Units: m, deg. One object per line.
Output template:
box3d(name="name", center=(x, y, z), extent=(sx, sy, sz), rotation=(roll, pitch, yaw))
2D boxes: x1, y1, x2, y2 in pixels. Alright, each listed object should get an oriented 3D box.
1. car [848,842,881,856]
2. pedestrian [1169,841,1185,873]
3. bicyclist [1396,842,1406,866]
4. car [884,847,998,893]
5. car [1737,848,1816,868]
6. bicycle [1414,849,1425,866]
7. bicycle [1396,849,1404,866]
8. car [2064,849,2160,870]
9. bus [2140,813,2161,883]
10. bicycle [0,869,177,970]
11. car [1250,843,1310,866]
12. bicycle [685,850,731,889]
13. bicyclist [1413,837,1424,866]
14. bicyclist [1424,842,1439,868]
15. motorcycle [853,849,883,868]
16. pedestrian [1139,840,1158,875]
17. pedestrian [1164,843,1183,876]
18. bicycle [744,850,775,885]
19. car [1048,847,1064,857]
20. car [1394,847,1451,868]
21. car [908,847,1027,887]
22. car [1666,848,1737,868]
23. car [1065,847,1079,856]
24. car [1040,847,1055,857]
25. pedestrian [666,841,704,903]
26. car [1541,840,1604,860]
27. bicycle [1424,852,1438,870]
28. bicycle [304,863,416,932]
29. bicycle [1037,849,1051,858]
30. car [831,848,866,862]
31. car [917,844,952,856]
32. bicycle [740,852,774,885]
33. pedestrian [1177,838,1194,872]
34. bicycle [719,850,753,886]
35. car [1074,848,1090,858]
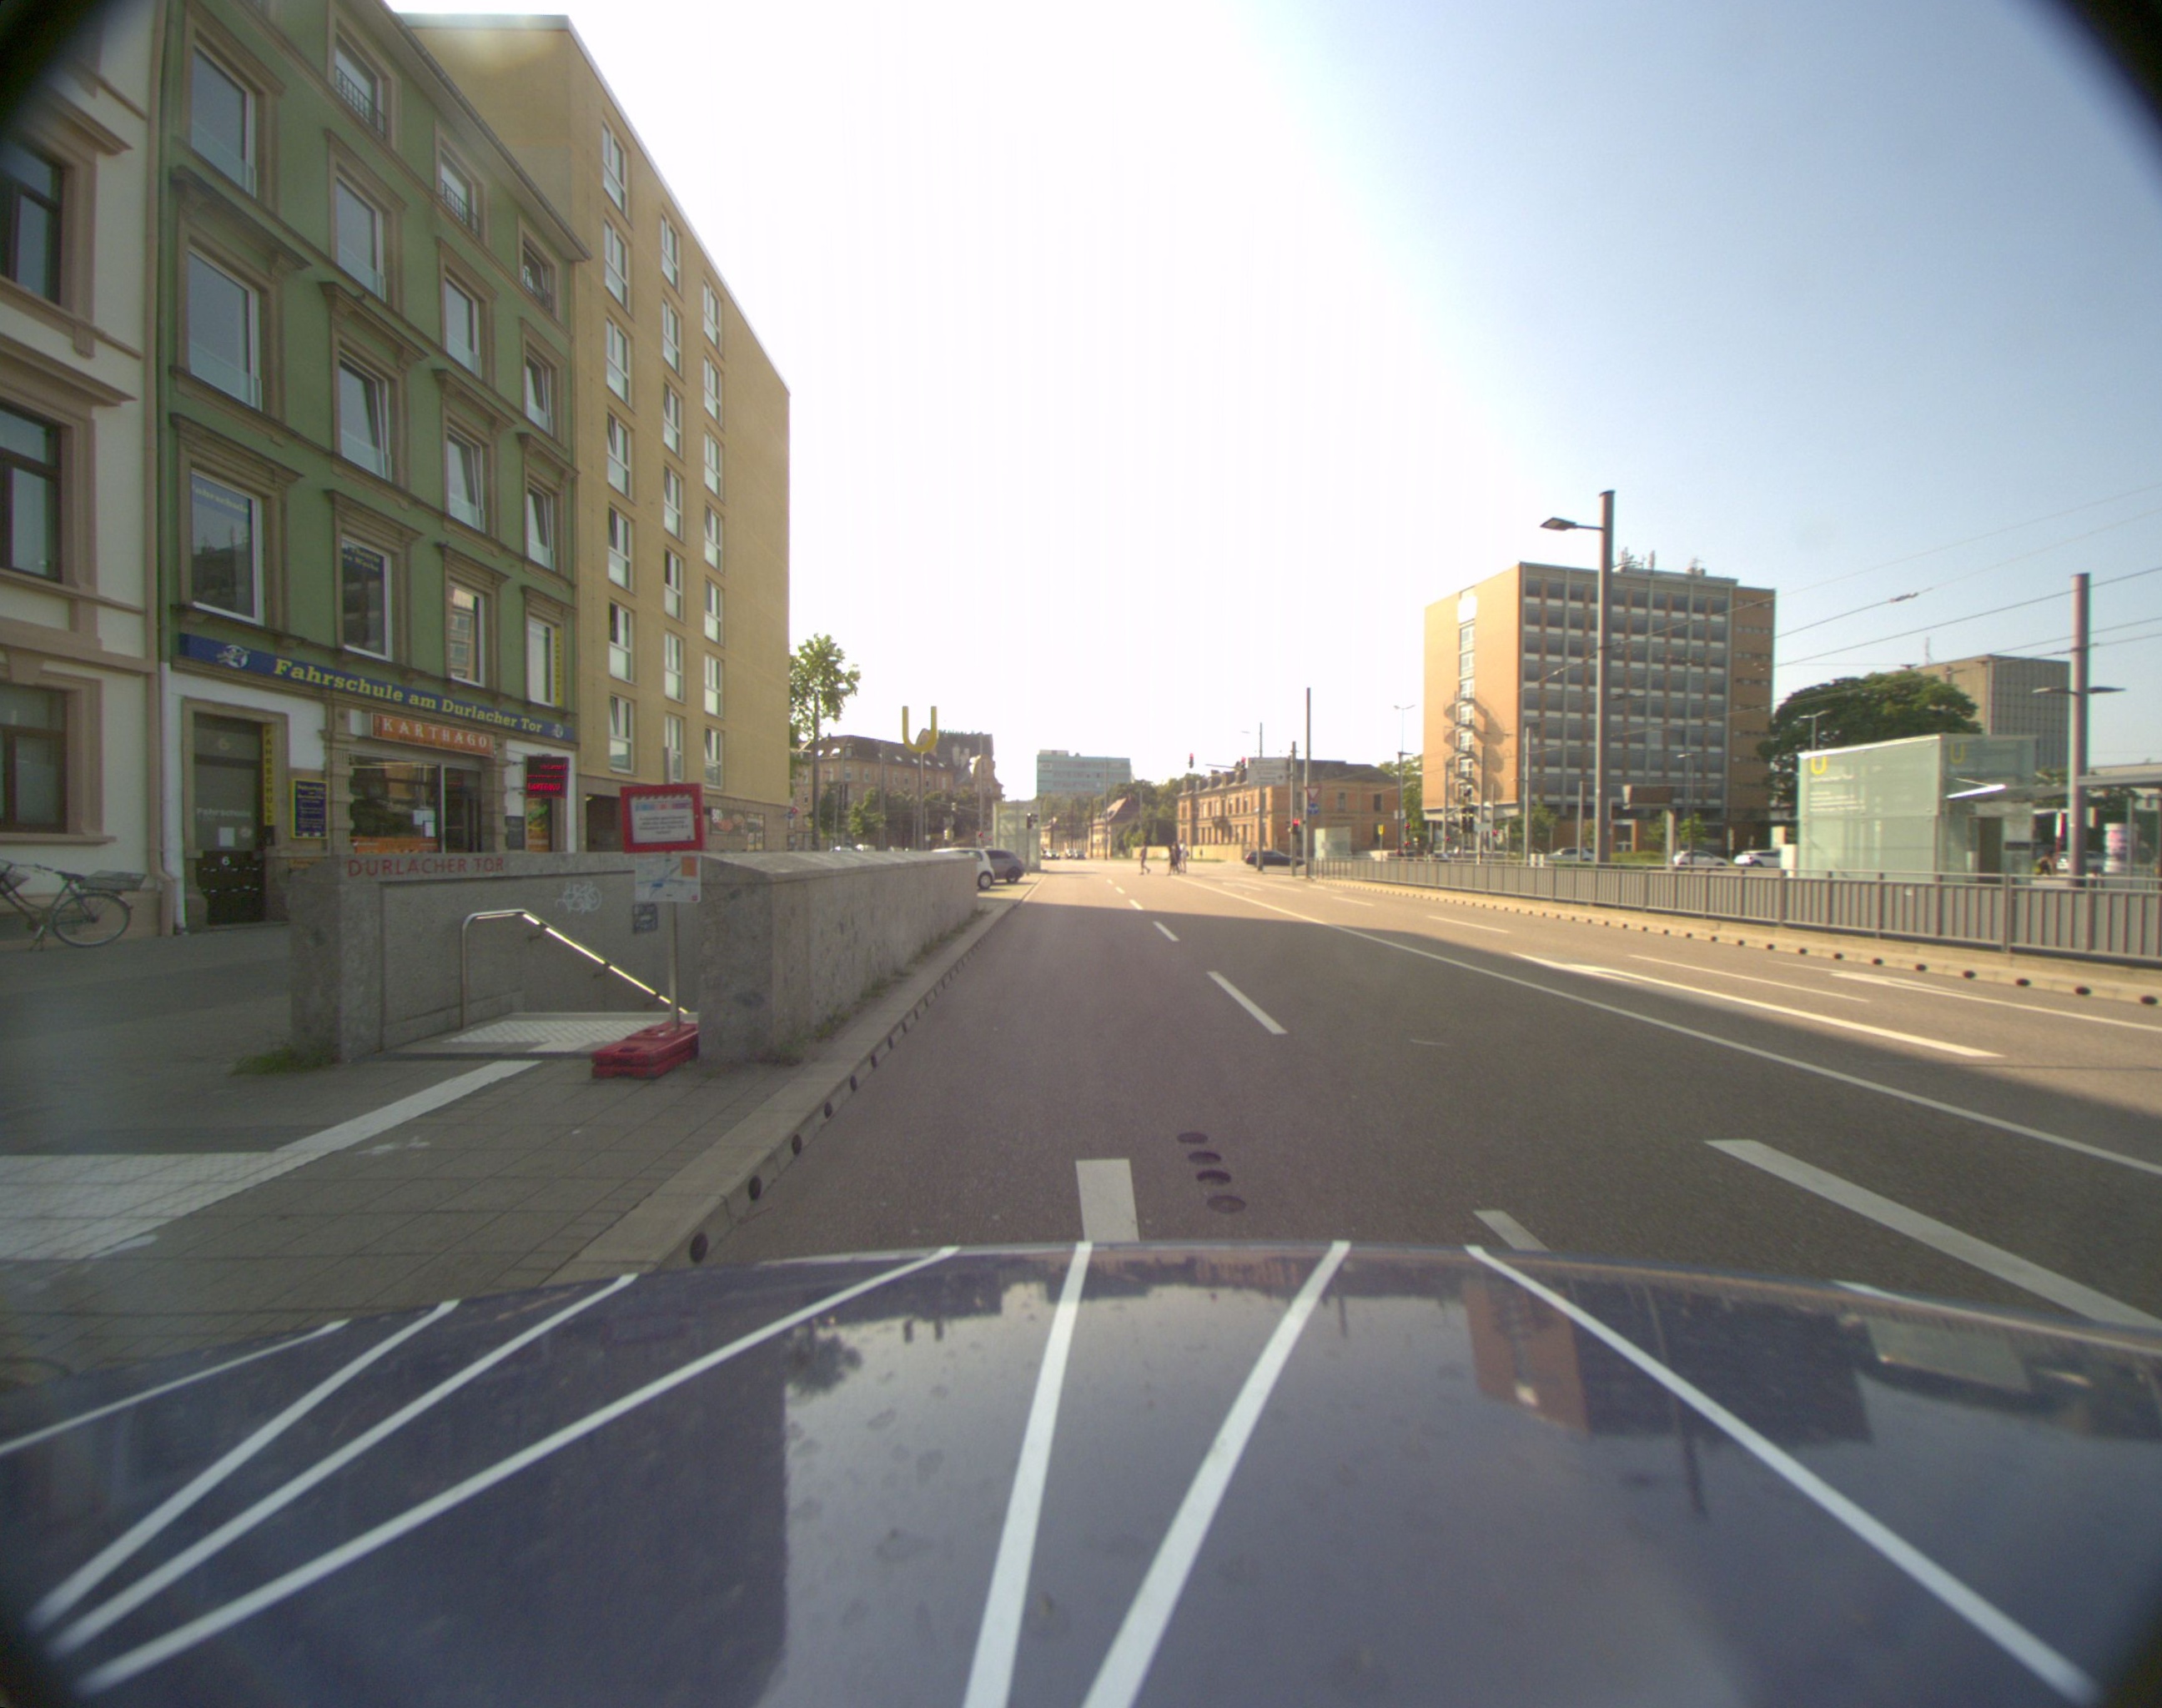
box3d(name="car", center=(-30.278, -0.693, 106.184), extent=(4.278, 1.875, 1.798), rotation=(0, -1, 27))
box3d(name="pedestrian", center=(4.809, 0.146, 38.166), extent=(0.634, 1.588, 0.467), rotation=(3, 1, -2))
box3d(name="bicyclist", center=(22.328, 0.012, 52.988), extent=(0.511, 1.621, 0.808), rotation=(0, 1, 14))
box3d(name="car", center=(-4.818, 0.501, 26.389), extent=(3.535, 1.455, 1.618), rotation=(-1, 2, -42))
box3d(name="car", center=(51.954, 0.269, 56.831), extent=(3.990, 1.407, 1.806), rotation=(1, 1, 21))
box3d(name="bicycle", center=(23.496, 0.210, 52.743), extent=(0.376, 1.158, 1.861), rotation=(0, 0, 15))
box3d(name="bicycle", center=(22.261, 0.250, 53.077), extent=(0.311, 1.159, 1.501), rotation=(0, 0, 15))
box3d(name="car", center=(71.673, 0.355, 52.872), extent=(3.549, 1.427, 1.806), rotation=(1, 1, 19))
box3d(name="bus", center=(58.319, -0.229, 33.403), extent=(13.276, 3.399, 3.232), rotation=(1, 1, 43))
box3d(name="bicycle", center=(-12.806, 0.788, 9.736), extent=(0.384, 1.127, 1.719), rotation=(0, 1, 0))
box3d(name="car", center=(16.484, 0.052, 62.923), extent=(4.564, 1.842, 2.003), rotation=(1, 1, 21))
box3d(name="bicycle", center=(-12.527, 0.502, 25.579), extent=(0.604, 1.254, 1.997), rotation=(0, 1, -1))
box3d(name="bicyclist", center=(23.498, -0.183, 52.872), extent=(0.580, 1.963, 0.808), rotation=(0, 1, 14))
box3d(name="bicyclist", center=(22.296, 0.074, 48.341), extent=(0.588, 1.647, 0.791), rotation=(0, 1, 8))
box3d(name="motorcycle", center=(-13.185, 0.238, 47.191), extent=(0.704, 1.140, 2.304), rotation=(1, 1, 15))
box3d(name="pedestrian", center=(3.341, 0.187, 37.882), extent=(0.816, 1.683, 0.651), rotation=(3, 1, 0))
box3d(name="pedestrian", center=(4.424, 0.248, 36.366), extent=(0.810, 1.539, 0.548), rotation=(3, 1, 1))
box3d(name="bicycle", center=(-12.020, 0.479, 28.460), extent=(0.604, 1.254, 1.995), rotation=(0, 1, -9))
box3d(name="car", center=(-3.749, -0.280, 112.796), extent=(1.928, 1.368, 3.996), rotation=(0, 1, -9))
box3d(name="car", center=(26.733, 0.223, 59.538), extent=(3.990, 1.587, 2.003), rotation=(1, 1, 22))
box3d(name="car", center=(-4.494, 0.464, 30.436), extent=(4.418, 1.415, 1.842), rotation=(-1, 2, -42))
box3d(name="car", center=(45.039, 0.302, 55.256), extent=(3.607, 1.407, 1.806), rotation=(1, 1, 20))
box3d(name="car", center=(-1.411, -0.353, 115.939), extent=(1.693, 1.319, 3.996), rotation=(0, 1, -9))
box3d(name="car", center=(-5.433, -0.311, 123.130), extent=(1.928, 1.627, 3.996), rotation=(0, 1, -9))
box3d(name="pedestrian", center=(-10.532, 0.459, 20.230), extent=(0.610, 1.620, 0.737), rotation=(0, 1, 0))
box3d(name="car", center=(42.947, -0.328, 66.513), extent=(4.281, 1.696, 1.955), rotation=(1, -1, 15))
box3d(name="bicycle", center=(22.288, 0.443, 48.411), extent=(0.402, 1.103, 1.748), rotation=(1, 1, 10))
box3d(name="bicycle", center=(-12.980, 0.744, 13.750), extent=(0.384, 1.127, 1.719), rotation=(0, 1, 0))
box3d(name="bicycle", center=(-4.810, -0.030, 98.187), extent=(1.770, 1.187, 0.401), rotation=(0, 1, 5))
box3d(name="car", center=(-25.835, 0.101, 84.417), extent=(3.621, 1.433, 1.807), rotation=(1, 1, 31))
box3d(name="car", center=(-19.343, -0.540, 100.221), extent=(4.279, 1.456, 1.677), rotation=(0, -1, 24))
box3d(name="bicycle", center=(-12.901, 0.555, 30.293), extent=(0.604, 1.254, 1.848), rotation=(0, 1, -1))
box3d(name="pedestrian", center=(5.645, 0.062, 41.176), extent=(0.834, 1.778, 0.729), rotation=(3, 1, 7))
box3d(name="bicycle", center=(-12.736, 0.503, 28.115), extent=(0.604, 1.254, 1.995), rotation=(0, 1, -9))
box3d(name="car", center=(0.135, -0.172, 109.751), extent=(1.693, 1.319, 3.996), rotation=(0, 1, -9))
